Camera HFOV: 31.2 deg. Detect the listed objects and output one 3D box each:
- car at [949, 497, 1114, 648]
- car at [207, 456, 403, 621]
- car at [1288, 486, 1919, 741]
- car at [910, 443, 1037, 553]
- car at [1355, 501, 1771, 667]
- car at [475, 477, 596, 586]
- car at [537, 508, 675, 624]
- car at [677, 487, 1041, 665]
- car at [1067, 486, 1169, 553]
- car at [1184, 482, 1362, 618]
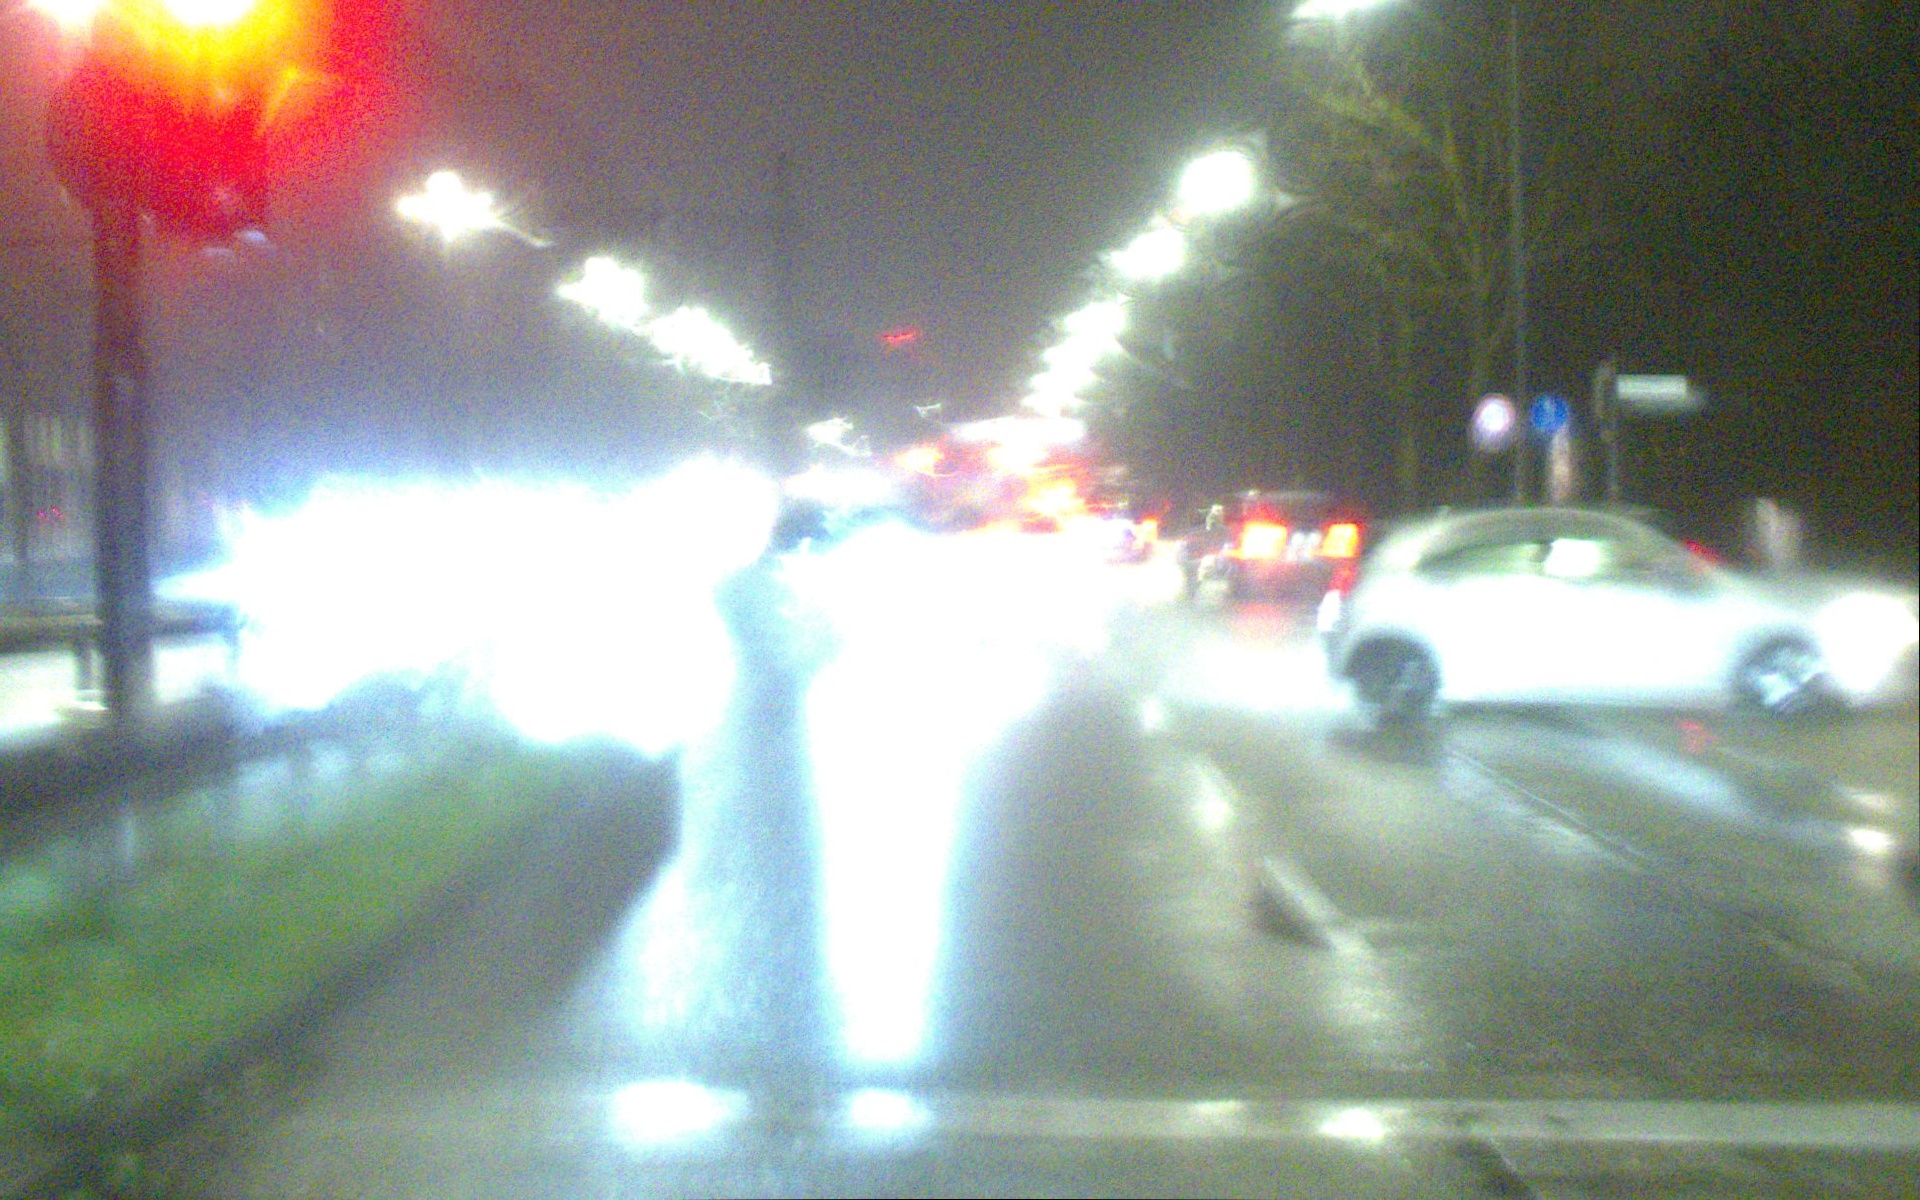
[{"bbox_3d":[0.945,-0.390,47.814,2.038,2.007,4.307,0,1,-2],"label":"car"},{"bbox_3d":[-7.315,-0.674,38.141,1.717,1.728,3.766,0,1,-17],"label":"car"},{"bbox_3d":[4.689,0.061,23.990,4.421,1.644,1.834,0,1,28],"label":"car"},{"bbox_3d":[0.235,-2.078,71.161,2.441,2.186,5.079,0,1,-2],"label":"car"},{"bbox_3d":[6.740,-0.194,38.371,4.297,1.779,2.043,0,1,19],"label":"car"},{"bbox_3d":[-8.017,-1.287,65.126,1.698,2.007,3.567,0,1,3],"label":"car"},{"bbox_3d":[-5.139,-0.504,49.967,1.901,1.612,4.515,0,1,-6],"label":"car"},{"bbox_3d":[-1.095,-0.252,34.504,1.834,1.665,4.463,0,1,-29],"label":"car"},{"bbox_3d":[3.724,-1.885,81.690,2.091,1.540,4.307,0,1,-2],"label":"car"},{"bbox_3d":[4.784,-0.771,53.190,2.038,2.007,4.308,0,1,-5],"label":"car"}]
